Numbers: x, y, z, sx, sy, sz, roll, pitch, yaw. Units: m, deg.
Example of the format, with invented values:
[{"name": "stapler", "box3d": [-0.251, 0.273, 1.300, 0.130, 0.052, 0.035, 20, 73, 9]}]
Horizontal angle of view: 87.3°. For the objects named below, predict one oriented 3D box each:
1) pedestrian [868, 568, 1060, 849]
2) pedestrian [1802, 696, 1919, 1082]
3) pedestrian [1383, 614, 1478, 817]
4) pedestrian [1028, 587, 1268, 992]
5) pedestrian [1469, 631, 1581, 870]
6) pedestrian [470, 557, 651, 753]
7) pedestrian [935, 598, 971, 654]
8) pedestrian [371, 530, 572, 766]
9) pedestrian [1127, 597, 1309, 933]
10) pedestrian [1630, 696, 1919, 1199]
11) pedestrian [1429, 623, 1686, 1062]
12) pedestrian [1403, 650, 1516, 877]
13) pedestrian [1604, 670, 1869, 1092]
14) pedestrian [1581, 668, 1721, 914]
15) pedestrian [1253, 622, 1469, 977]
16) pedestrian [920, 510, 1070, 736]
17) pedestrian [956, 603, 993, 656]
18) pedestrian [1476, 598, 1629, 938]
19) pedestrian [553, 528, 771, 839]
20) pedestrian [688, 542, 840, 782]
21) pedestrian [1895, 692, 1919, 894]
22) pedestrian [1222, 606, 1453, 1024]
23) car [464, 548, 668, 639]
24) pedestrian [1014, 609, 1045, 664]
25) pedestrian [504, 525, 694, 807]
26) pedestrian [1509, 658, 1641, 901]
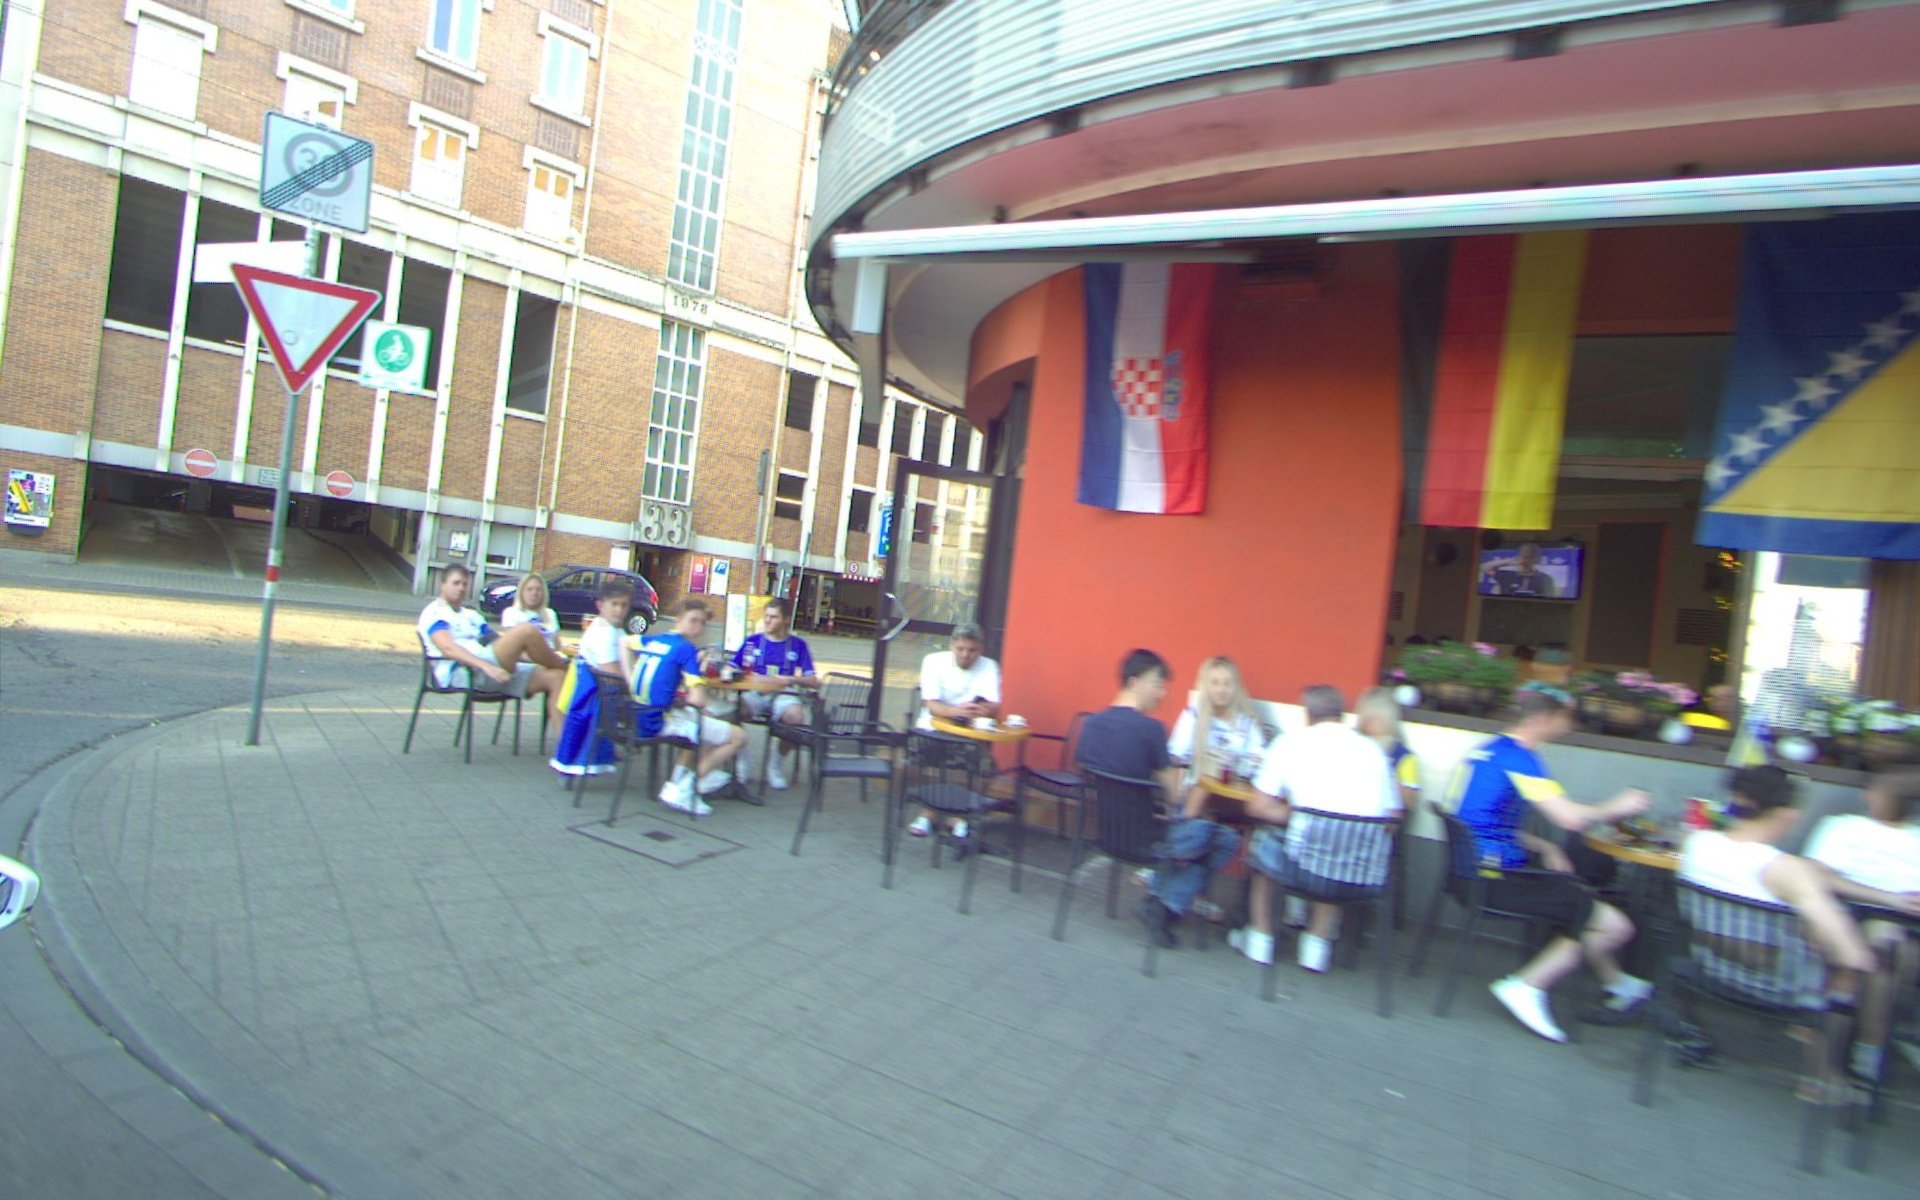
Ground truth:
[{"name": "pedestrian", "box3d": [0.015, 0.638, 6.035, 0.745, 1.554, 0.643, 8, -1, -30]}, {"name": "pedestrian", "box3d": [3.975, 1.149, 4.062, 0.591, 1.438, 0.714, 7, -1, 26]}, {"name": "pedestrian", "box3d": [4.480, 1.079, 9.607, 0.607, 1.798, 0.612, 7, 0, 25]}, {"name": "pedestrian", "box3d": [0.849, 0.761, 4.463, 0.746, 1.557, 0.713, 7, 4, 23]}, {"name": "pedestrian", "box3d": [5.233, 1.363, 9.370, 0.658, 2.038, 0.814, 7, 0, 27]}, {"name": "pedestrian", "box3d": [-2.924, 0.393, 7.433, 0.949, 1.297, 0.686, 5, 0, 2]}, {"name": "pedestrian", "box3d": [-0.242, 0.907, 35.365, 0.882, 1.855, 0.636, 7, 0, 28]}, {"name": "pedestrian", "box3d": [-3.211, 0.307, 6.684, 0.823, 1.399, 0.770, 6, 1, 2]}, {"name": "pedestrian", "box3d": [1.359, 0.802, 5.252, 0.643, 1.556, 0.674, 7, 3, 25]}, {"name": "pedestrian", "box3d": [2.768, 1.059, 3.271, 0.736, 1.363, 0.654, 7, 3, 25]}, {"name": "pedestrian", "box3d": [2.456, 0.936, 4.246, 0.667, 1.554, 0.853, 7, -1, 24]}, {"name": "pedestrian", "box3d": [4.275, 1.367, 8.648, 0.606, 1.798, 0.612, 7, 0, 20]}, {"name": "pedestrian", "box3d": [3.071, 1.050, 4.054, 0.551, 1.453, 0.666, 7, 2, 25]}, {"name": "pedestrian", "box3d": [5.485, 1.481, 8.028, 0.606, 1.798, 0.612, 7, 0, 20]}, {"name": "pedestrian", "box3d": [2.007, 0.929, 5.037, 0.769, 1.522, 0.769, 7, 0, 25]}, {"name": "pedestrian", "box3d": [0.341, 0.228, 9.713, 0.843, 2.038, 0.907, 7, 0, 42]}, {"name": "pedestrian", "box3d": [0.520, 1.042, 35.587, 0.882, 1.771, 0.674, 7, 0, 28]}, {"name": "pedestrian", "box3d": [3.384, 0.926, 5.794, 0.512, 1.798, 0.538, 7, 0, 24]}, {"name": "pedestrian", "box3d": [-1.679, 0.424, 5.683, 0.838, 1.557, 0.712, 7, 4, 29]}, {"name": "pedestrian", "box3d": [-1.390, 0.439, 7.289, 0.838, 1.554, 0.714, 8, -1, -7]}, {"name": "pedestrian", "box3d": [9.103, 1.780, 9.076, 0.749, 1.815, 0.648, 7, 0, 38]}, {"name": "pedestrian", "box3d": [1.599, 0.835, 4.278, 0.687, 1.548, 0.649, 7, 4, 23]}, {"name": "car", "box3d": [-9.281, -0.141, 23.814, 3.970, 1.538, 1.979, 9, -1, -39]}, {"name": "pedestrian", "box3d": [2.487, 1.314, 36.026, 0.668, 1.850, 0.674, 7, 0, 28]}, {"name": "pedestrian", "box3d": [-2.171, 0.380, 6.048, 0.680, 1.555, 0.710, 7, 1, 44]}, {"name": "pedestrian", "box3d": [4.932, 1.405, 8.106, 0.606, 1.798, 0.612, 7, 0, 20]}]
